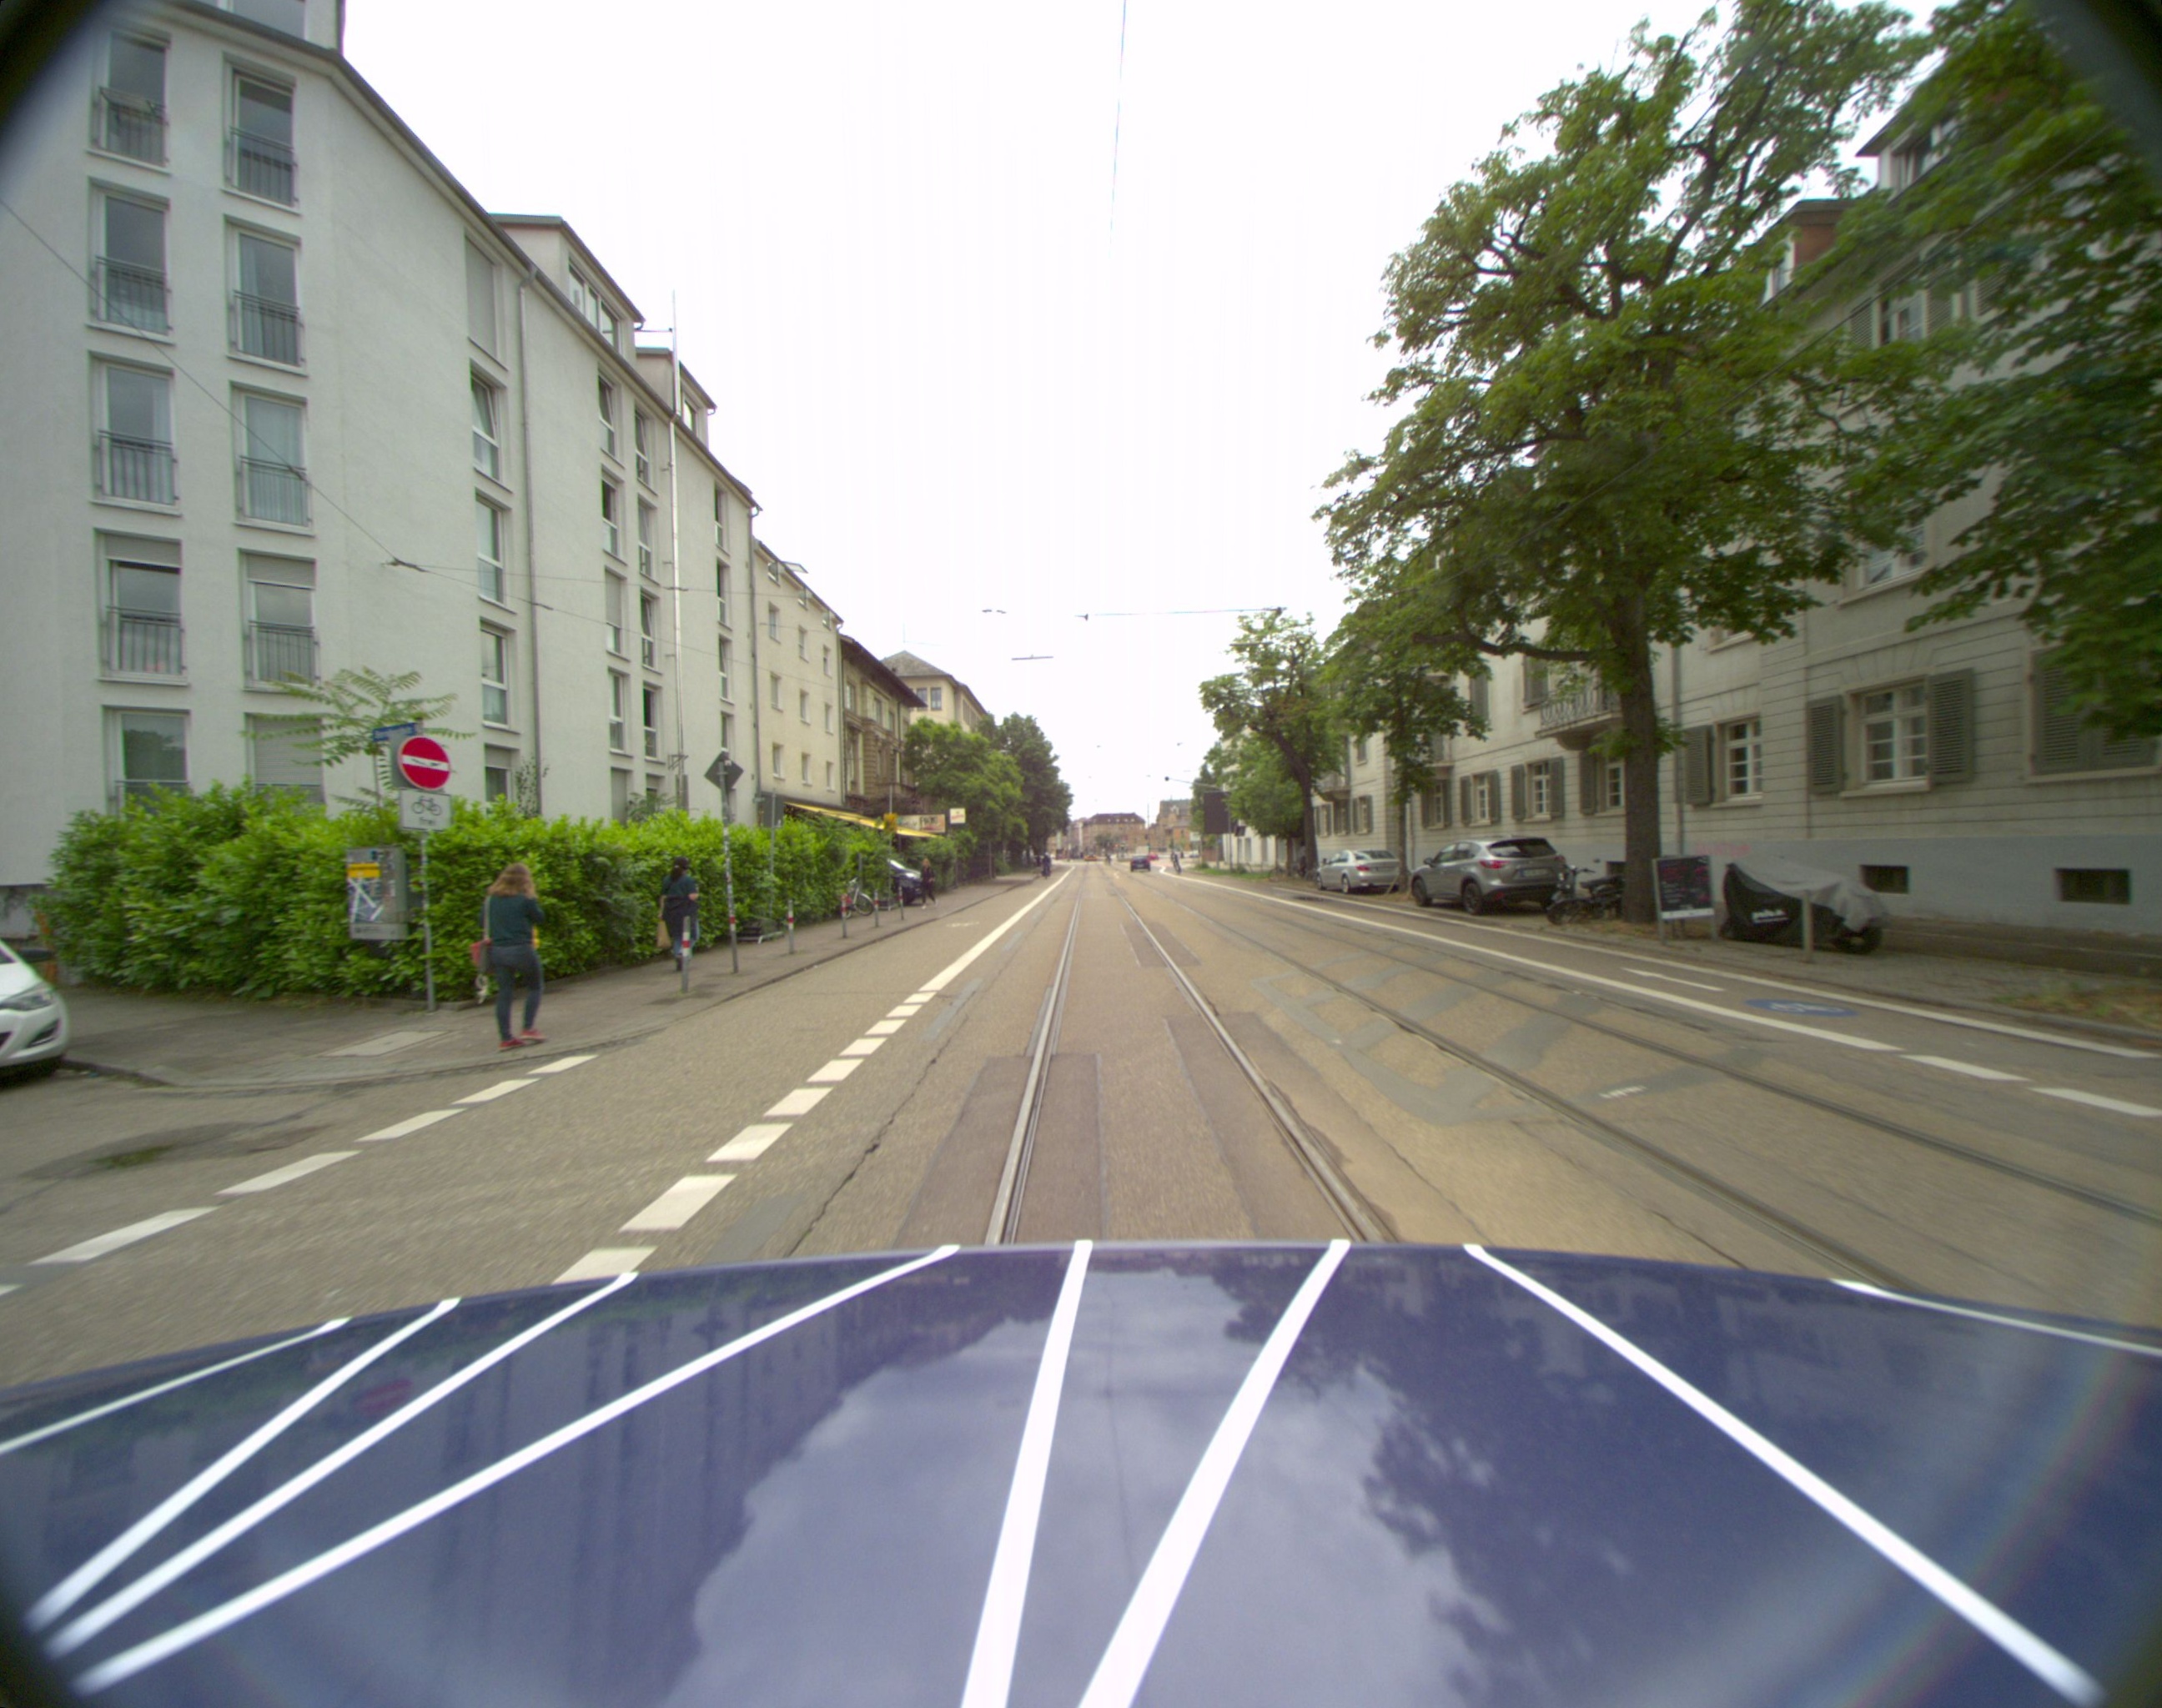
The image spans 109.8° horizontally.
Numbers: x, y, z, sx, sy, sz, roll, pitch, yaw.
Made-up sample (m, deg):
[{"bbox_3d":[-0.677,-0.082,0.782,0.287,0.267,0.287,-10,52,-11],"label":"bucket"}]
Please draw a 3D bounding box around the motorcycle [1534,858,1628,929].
[{"bbox_3d":[9.120,0.711,13.900,1.288,1.215,0.548,-3,1,7],"label":"motorcycle"}]

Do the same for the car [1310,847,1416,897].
[{"bbox_3d":[9.263,0.548,25.395,1.816,1.457,4.614,-3,0,0],"label":"car"}]

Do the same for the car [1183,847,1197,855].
[{"bbox_3d":[22.743,-0.576,158.608,1.491,1.500,3.476,-1,1,34],"label":"car"}]

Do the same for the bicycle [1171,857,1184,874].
[{"bbox_3d":[6.895,0.815,54.315,0.775,1.205,1.870,-2,0,10],"label":"bicycle"}]

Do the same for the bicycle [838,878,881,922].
[{"bbox_3d":[-6.036,1.237,20.836,0.634,1.121,1.812,0,0,0],"label":"bicycle"}]

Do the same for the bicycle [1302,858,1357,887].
[{"bbox_3d":[9.559,0.704,29.289,1.900,1.021,0.564,-3,1,-3],"label":"bicycle"}]

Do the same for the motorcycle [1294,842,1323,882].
[{"bbox_3d":[9.820,0.336,32.917,0.834,1.633,2.481,-2,0,9],"label":"motorcycle"}]

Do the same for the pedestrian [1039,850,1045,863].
[{"bbox_3d":[-5.326,0.328,102.783,0.614,1.740,0.685,-2,1,-13],"label":"pedestrian"}]

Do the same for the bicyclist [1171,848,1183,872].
[{"bbox_3d":[6.901,0.425,54.391,0.775,1.681,0.869,-2,1,10],"label":"bicyclist"}]

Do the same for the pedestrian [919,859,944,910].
[{"bbox_3d":[-4.975,0.993,25.274,0.625,1.661,0.960,1,1,0],"label":"pedestrian"}]

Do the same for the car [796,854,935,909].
[{"bbox_3d":[-7.516,0.930,26.784,4.290,1.798,1.824,-1,0,3],"label":"car"}]

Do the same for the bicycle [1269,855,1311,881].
[{"bbox_3d":[9.646,0.642,35.072,1.744,1.122,0.518,-4,0,19],"label":"bicycle"}]

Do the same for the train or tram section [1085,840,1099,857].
[{"bbox_3d":[2.321,-1.186,164.581,2.631,3.659,5.984,-2,1,-1],"label":"train or tram section"}]

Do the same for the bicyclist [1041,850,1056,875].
[{"bbox_3d":[-2.388,0.643,56.200,0.881,1.811,1.479,-2,-1,6],"label":"bicyclist"}]

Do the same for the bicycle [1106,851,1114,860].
[{"bbox_3d":[3.994,0.228,105.312,0.793,1.179,2.012,1,0,8],"label":"bicycle"}]

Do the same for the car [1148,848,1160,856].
[{"bbox_3d":[13.799,-0.369,143.738,1.758,1.490,4.004,0,1,14],"label":"car"}]

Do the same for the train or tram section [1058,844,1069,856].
[{"bbox_3d":[-4.513,-1.049,195.764,2.609,2.936,4.965,-2,1,-1],"label":"train or tram section"}]

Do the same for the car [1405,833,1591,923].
[{"bbox_3d":[9.148,0.477,17.148,1.842,1.651,4.293,-4,0,2],"label":"car"}]

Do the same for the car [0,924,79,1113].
[{"bbox_3d":[-10.332,1.355,6.232,3.812,1.422,1.674,-2,0,23],"label":"car"}]

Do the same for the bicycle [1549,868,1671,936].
[{"bbox_3d":[8.993,0.801,12.984,1.379,0.999,0.930,-5,0,5],"label":"bicycle"}]

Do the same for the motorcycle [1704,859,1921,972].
[{"bbox_3d":[9.305,0.711,9.820,0.541,1.250,2.141,-4,1,-6],"label":"motorcycle"}]

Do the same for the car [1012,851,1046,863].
[{"bbox_3d":[-7.107,0.454,103.842,4.330,1.542,1.747,-2,0,-22],"label":"car"}]

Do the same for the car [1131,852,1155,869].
[{"bbox_3d":[5.202,0.521,63.892,1.733,1.400,3.655,-2,0,1],"label":"car"}]

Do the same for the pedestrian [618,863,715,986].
[{"bbox_3d":[-5.821,0.956,10.695,0.794,1.627,0.837,0,2,16],"label":"pedestrian"}]

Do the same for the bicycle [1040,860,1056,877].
[{"bbox_3d":[-2.413,1.079,56.186,0.852,1.234,2.311,-2,-1,6],"label":"bicycle"}]

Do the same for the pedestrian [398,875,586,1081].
[{"bbox_3d":[-5.174,1.038,6.731,0.874,1.646,0.909,-2,1,15],"label":"pedestrian"}]

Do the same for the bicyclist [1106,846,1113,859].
[{"bbox_3d":[4.004,-0.275,105.283,0.793,1.773,1.148,1,1,8],"label":"bicyclist"}]
